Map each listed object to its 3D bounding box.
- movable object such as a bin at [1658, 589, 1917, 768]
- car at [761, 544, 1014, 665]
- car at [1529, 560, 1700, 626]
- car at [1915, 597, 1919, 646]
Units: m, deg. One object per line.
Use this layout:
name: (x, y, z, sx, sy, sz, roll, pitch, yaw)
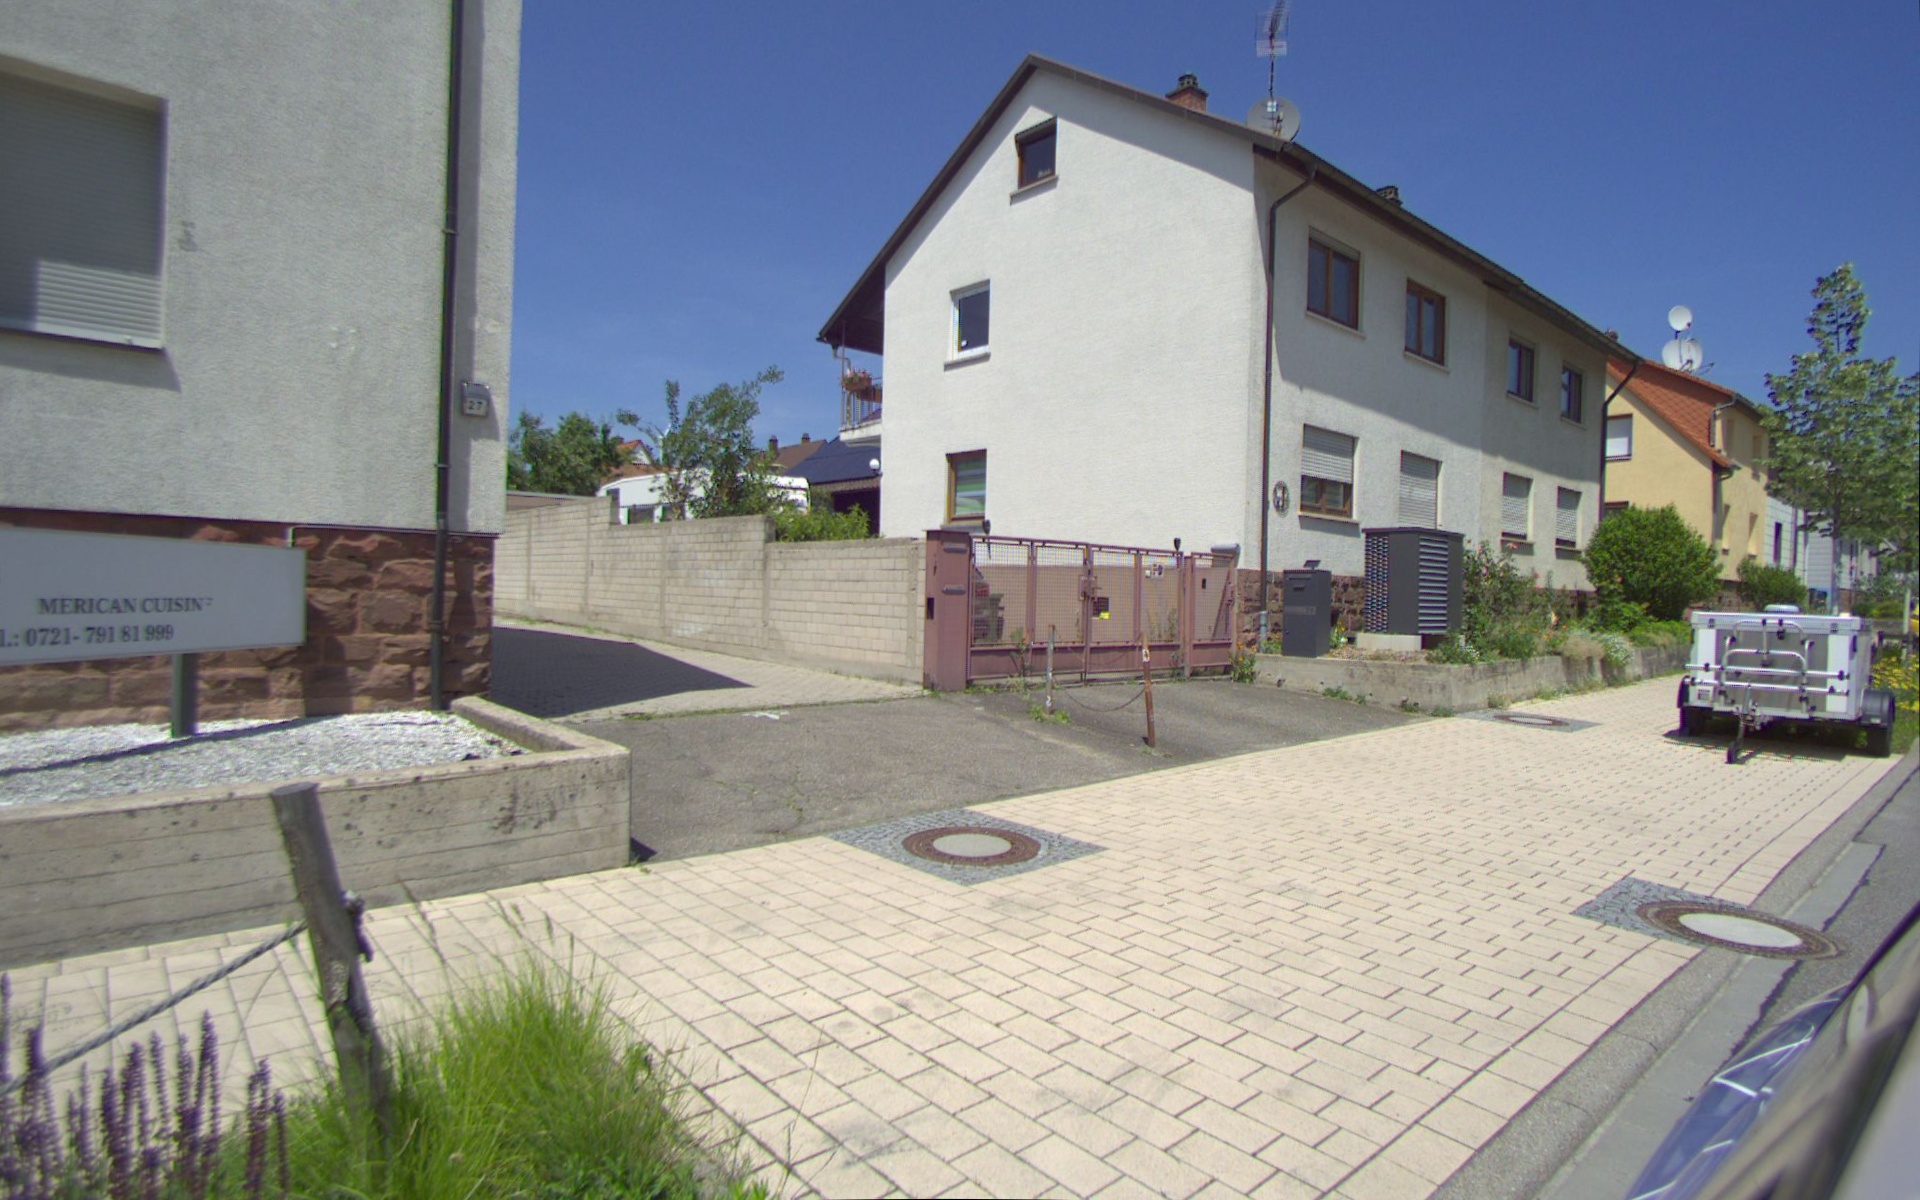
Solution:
movable object such as a bin: (8.258, 0.636, 10.031, 2.990, 1.434, 1.574, -1, 2, -43)
car: (-1.256, -0.038, 15.917, 1.965, 1.623, 3.995, -1, 3, -41)
car: (19.814, -0.264, 30.750, 1.843, 1.697, 3.992, 0, 4, -44)
car: (29.842, 0.334, 29.706, 5.529, 2.037, 2.193, -1, 6, -43)
